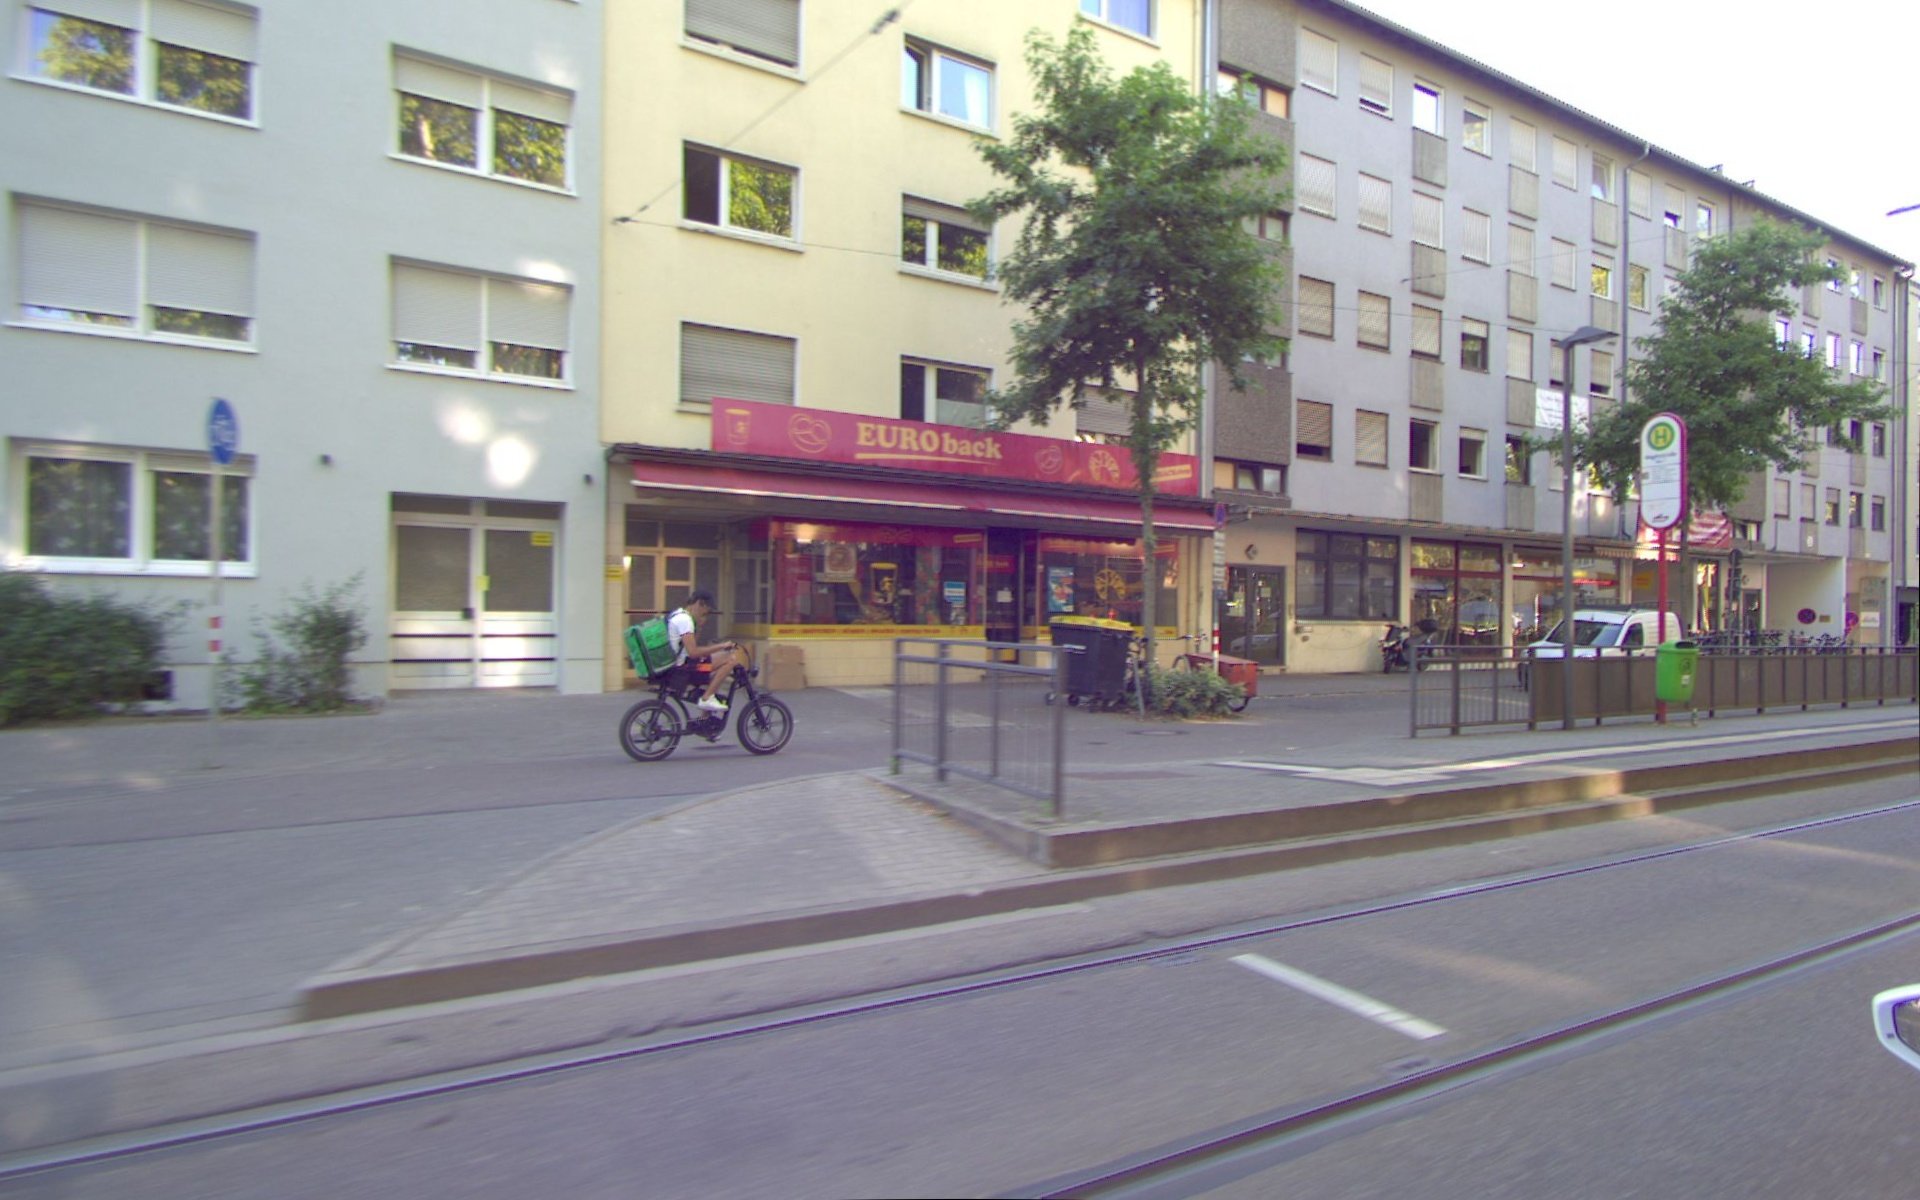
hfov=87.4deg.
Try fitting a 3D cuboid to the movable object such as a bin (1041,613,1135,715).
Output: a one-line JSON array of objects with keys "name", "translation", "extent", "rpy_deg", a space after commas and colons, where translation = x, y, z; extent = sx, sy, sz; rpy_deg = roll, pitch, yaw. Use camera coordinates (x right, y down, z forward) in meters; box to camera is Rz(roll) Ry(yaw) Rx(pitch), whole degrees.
[{"name": "movable object such as a bin", "translation": [1.894, 0.921, 14.955], "extent": [0.775, 1.366, 1.162], "rpy_deg": [1, 3, -33]}]

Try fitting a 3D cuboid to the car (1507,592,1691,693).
[{"name": "car", "translation": [13.555, 0.878, 21.272], "extent": [3.953, 1.966, 1.680], "rpy_deg": [1, -1, -30]}]

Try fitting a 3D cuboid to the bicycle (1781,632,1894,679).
[{"name": "bicycle", "translation": [24.392, 1.509, 27.971], "extent": [0.628, 1.088, 2.243], "rpy_deg": [1, 2, -28]}]

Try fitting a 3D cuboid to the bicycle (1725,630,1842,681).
[{"name": "bicycle", "translation": [21.306, 1.410, 26.050], "extent": [0.628, 1.088, 2.243], "rpy_deg": [1, 2, -28]}]

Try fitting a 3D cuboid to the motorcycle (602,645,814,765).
[{"name": "motorcycle", "translation": [-2.356, 0.949, 9.488], "extent": [1.855, 1.046, 0.593], "rpy_deg": [1, -3, -29]}]

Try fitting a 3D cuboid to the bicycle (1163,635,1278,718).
[{"name": "bicycle", "translation": [3.971, 1.137, 15.415], "extent": [0.875, 1.089, 1.526], "rpy_deg": [1, 2, -30]}]

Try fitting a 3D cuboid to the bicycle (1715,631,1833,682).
[{"name": "bicycle", "translation": [20.828, 1.424, 25.761], "extent": [0.628, 1.088, 2.243], "rpy_deg": [1, 2, -28]}]

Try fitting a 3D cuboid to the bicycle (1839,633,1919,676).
[{"name": "bicycle", "translation": [27.467, 1.600, 29.599], "extent": [0.628, 1.088, 2.243], "rpy_deg": [1, 2, -28]}]

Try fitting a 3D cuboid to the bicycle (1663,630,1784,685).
[{"name": "bicycle", "translation": [18.417, 1.361, 24.299], "extent": [0.628, 1.088, 2.243], "rpy_deg": [1, 2, -28]}]

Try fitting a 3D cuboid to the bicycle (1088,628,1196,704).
[{"name": "bicycle", "translation": [2.913, 1.027, 15.974], "extent": [1.780, 1.122, 0.495], "rpy_deg": [1, 3, -33]}]

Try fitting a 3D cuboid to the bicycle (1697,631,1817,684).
[{"name": "bicycle", "translation": [19.846, 1.410, 25.077], "extent": [0.628, 1.088, 2.243], "rpy_deg": [1, 2, -28]}]

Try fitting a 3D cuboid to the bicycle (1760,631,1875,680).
[{"name": "bicycle", "translation": [22.972, 1.470, 26.970], "extent": [0.628, 1.088, 2.243], "rpy_deg": [1, 2, -28]}]

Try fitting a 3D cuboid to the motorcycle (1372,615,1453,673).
[{"name": "motorcycle", "translation": [10.746, 1.023, 23.831], "extent": [2.196, 1.328, 0.596], "rpy_deg": [1, -1, -30]}]

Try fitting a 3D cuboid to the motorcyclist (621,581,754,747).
[{"name": "motorcyclist", "translation": [-2.546, 0.588, 9.406], "extent": [1.090, 1.468, 0.593], "rpy_deg": [1, -3, -29]}]

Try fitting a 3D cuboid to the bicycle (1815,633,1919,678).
[{"name": "bicycle", "translation": [26.025, 1.563, 28.751], "extent": [0.628, 1.088, 2.243], "rpy_deg": [1, 2, -28]}]

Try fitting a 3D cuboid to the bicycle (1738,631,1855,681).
[{"name": "bicycle", "translation": [21.889, 1.442, 26.351], "extent": [0.628, 1.088, 2.243], "rpy_deg": [1, 2, -28]}]
